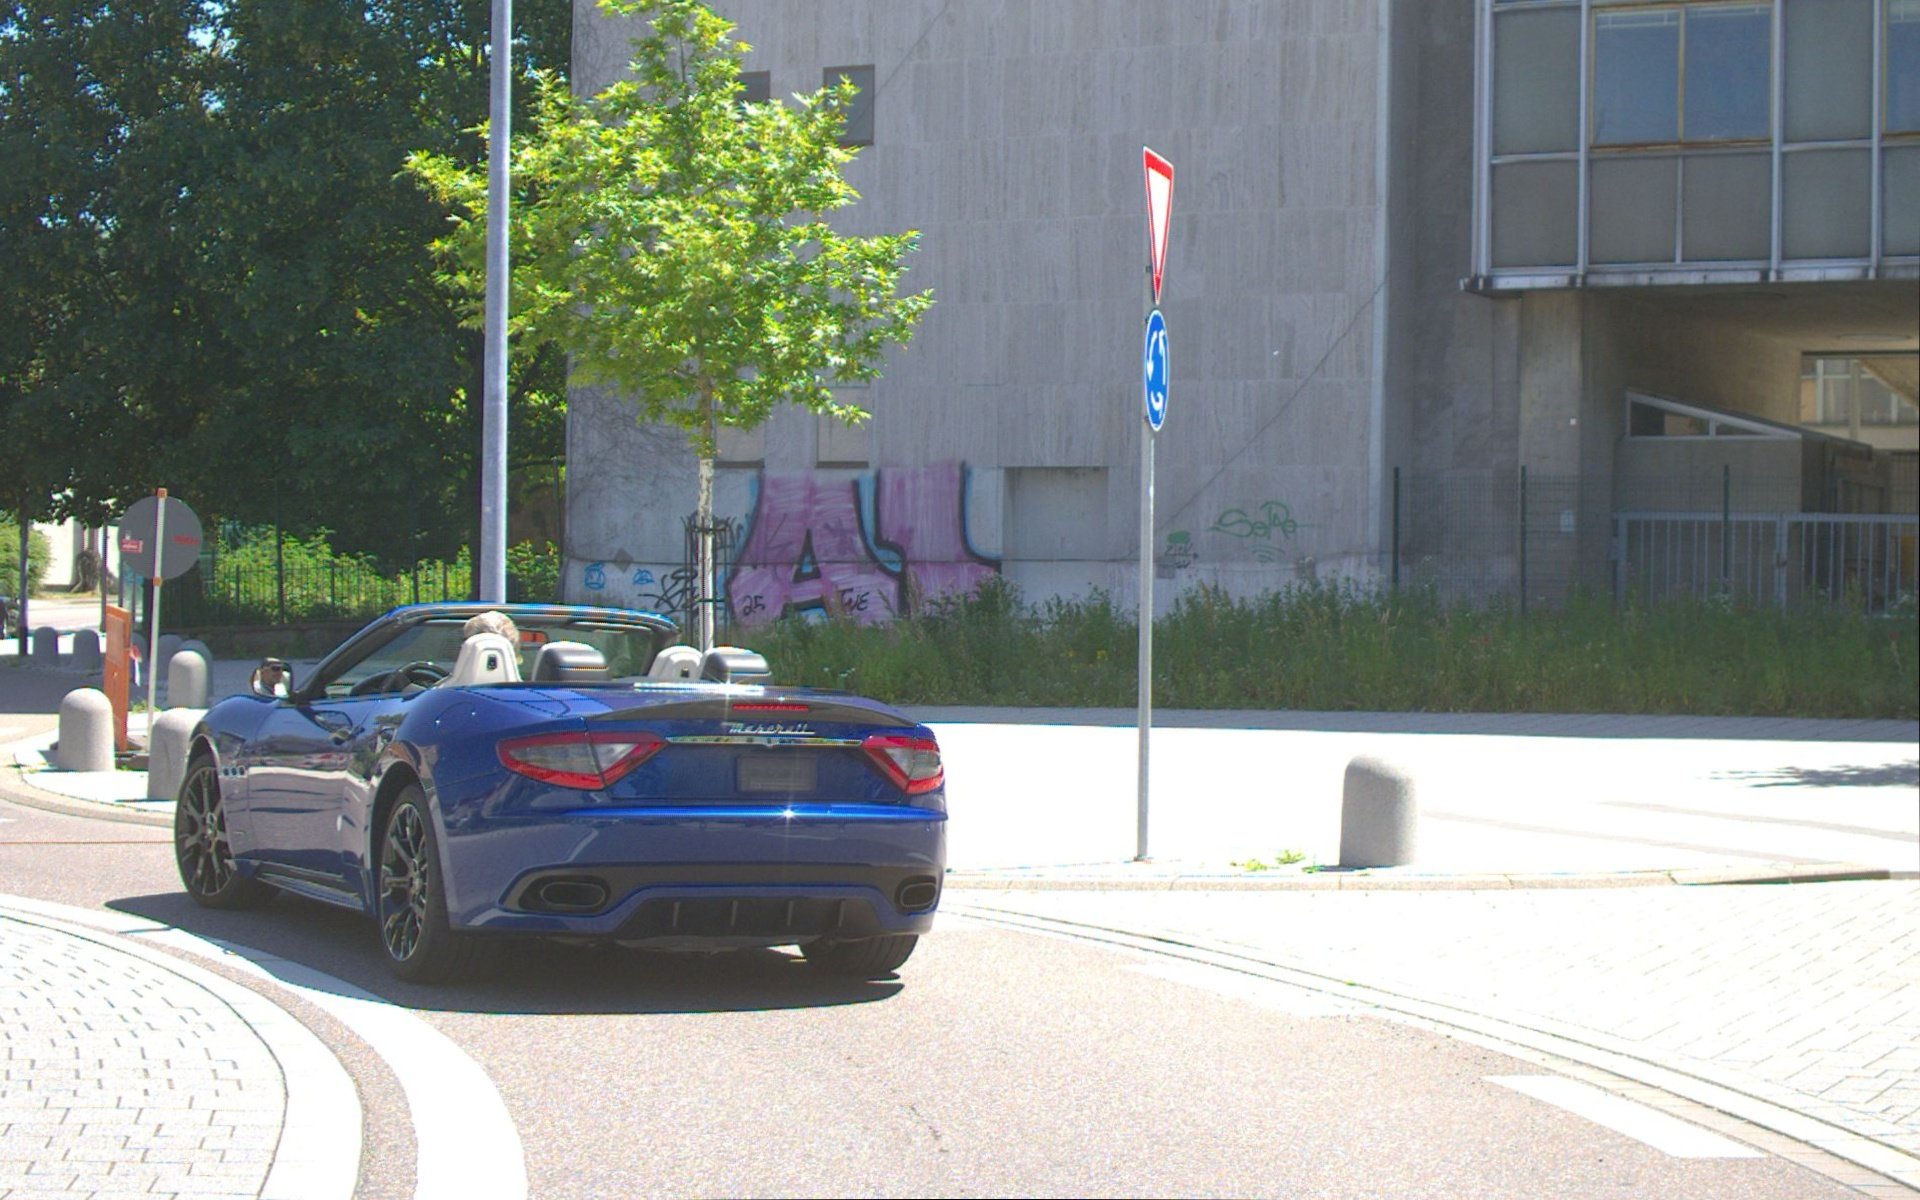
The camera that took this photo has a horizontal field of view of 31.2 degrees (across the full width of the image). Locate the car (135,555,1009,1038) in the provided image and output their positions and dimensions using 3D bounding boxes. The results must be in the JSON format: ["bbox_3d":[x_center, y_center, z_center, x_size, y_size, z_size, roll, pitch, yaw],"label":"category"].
[{"bbox_3d":[-1.700,0.663,13.294,1.870,1.525,4.507,1,-1,-27],"label":"car"}]

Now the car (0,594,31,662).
[{"bbox_3d":[-22.194,0.620,77.706,1.738,1.431,3.711,0,1,-6],"label":"car"}]
